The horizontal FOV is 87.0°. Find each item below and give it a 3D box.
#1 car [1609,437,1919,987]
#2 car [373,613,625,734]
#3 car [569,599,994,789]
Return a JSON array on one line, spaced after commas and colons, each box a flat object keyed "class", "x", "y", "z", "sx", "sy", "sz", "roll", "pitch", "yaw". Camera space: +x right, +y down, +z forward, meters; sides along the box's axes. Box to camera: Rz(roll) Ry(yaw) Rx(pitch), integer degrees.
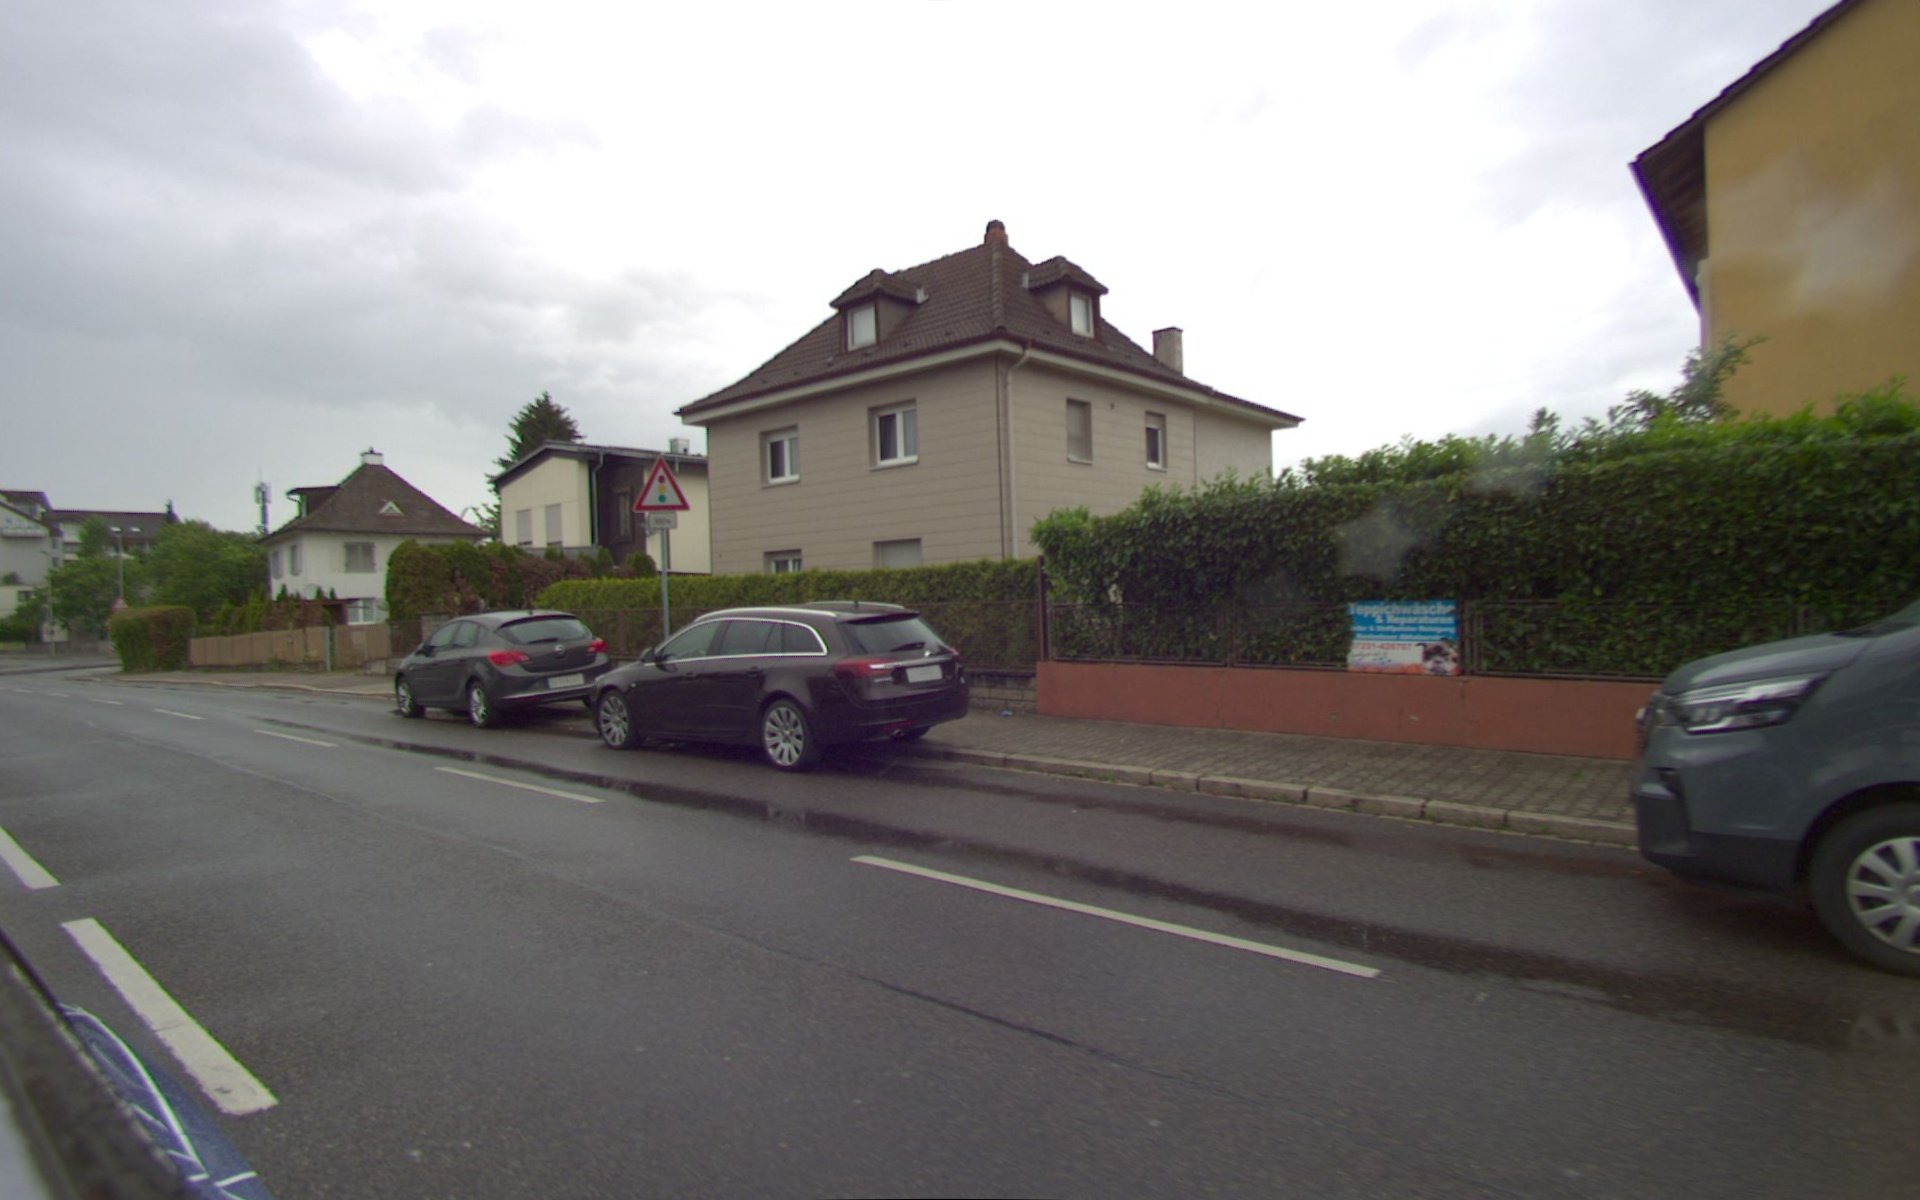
[{"class": "car", "x": 5.340, "y": 0.373, "z": 3.444, "sx": 5.082, "sy": 2.018, "sz": 1.894, "roll": -1, "pitch": 0, "yaw": 39}, {"class": "car", "x": -6.685, "y": 0.948, "z": 14.492, "sx": 4.128, "sy": 1.450, "sz": 1.732, "roll": -1, "pitch": 0, "yaw": 41}, {"class": "car", "x": -1.984, "y": 0.801, "z": 10.334, "sx": 4.523, "sy": 1.528, "sz": 1.733, "roll": -1, "pitch": 0, "yaw": 39}]
